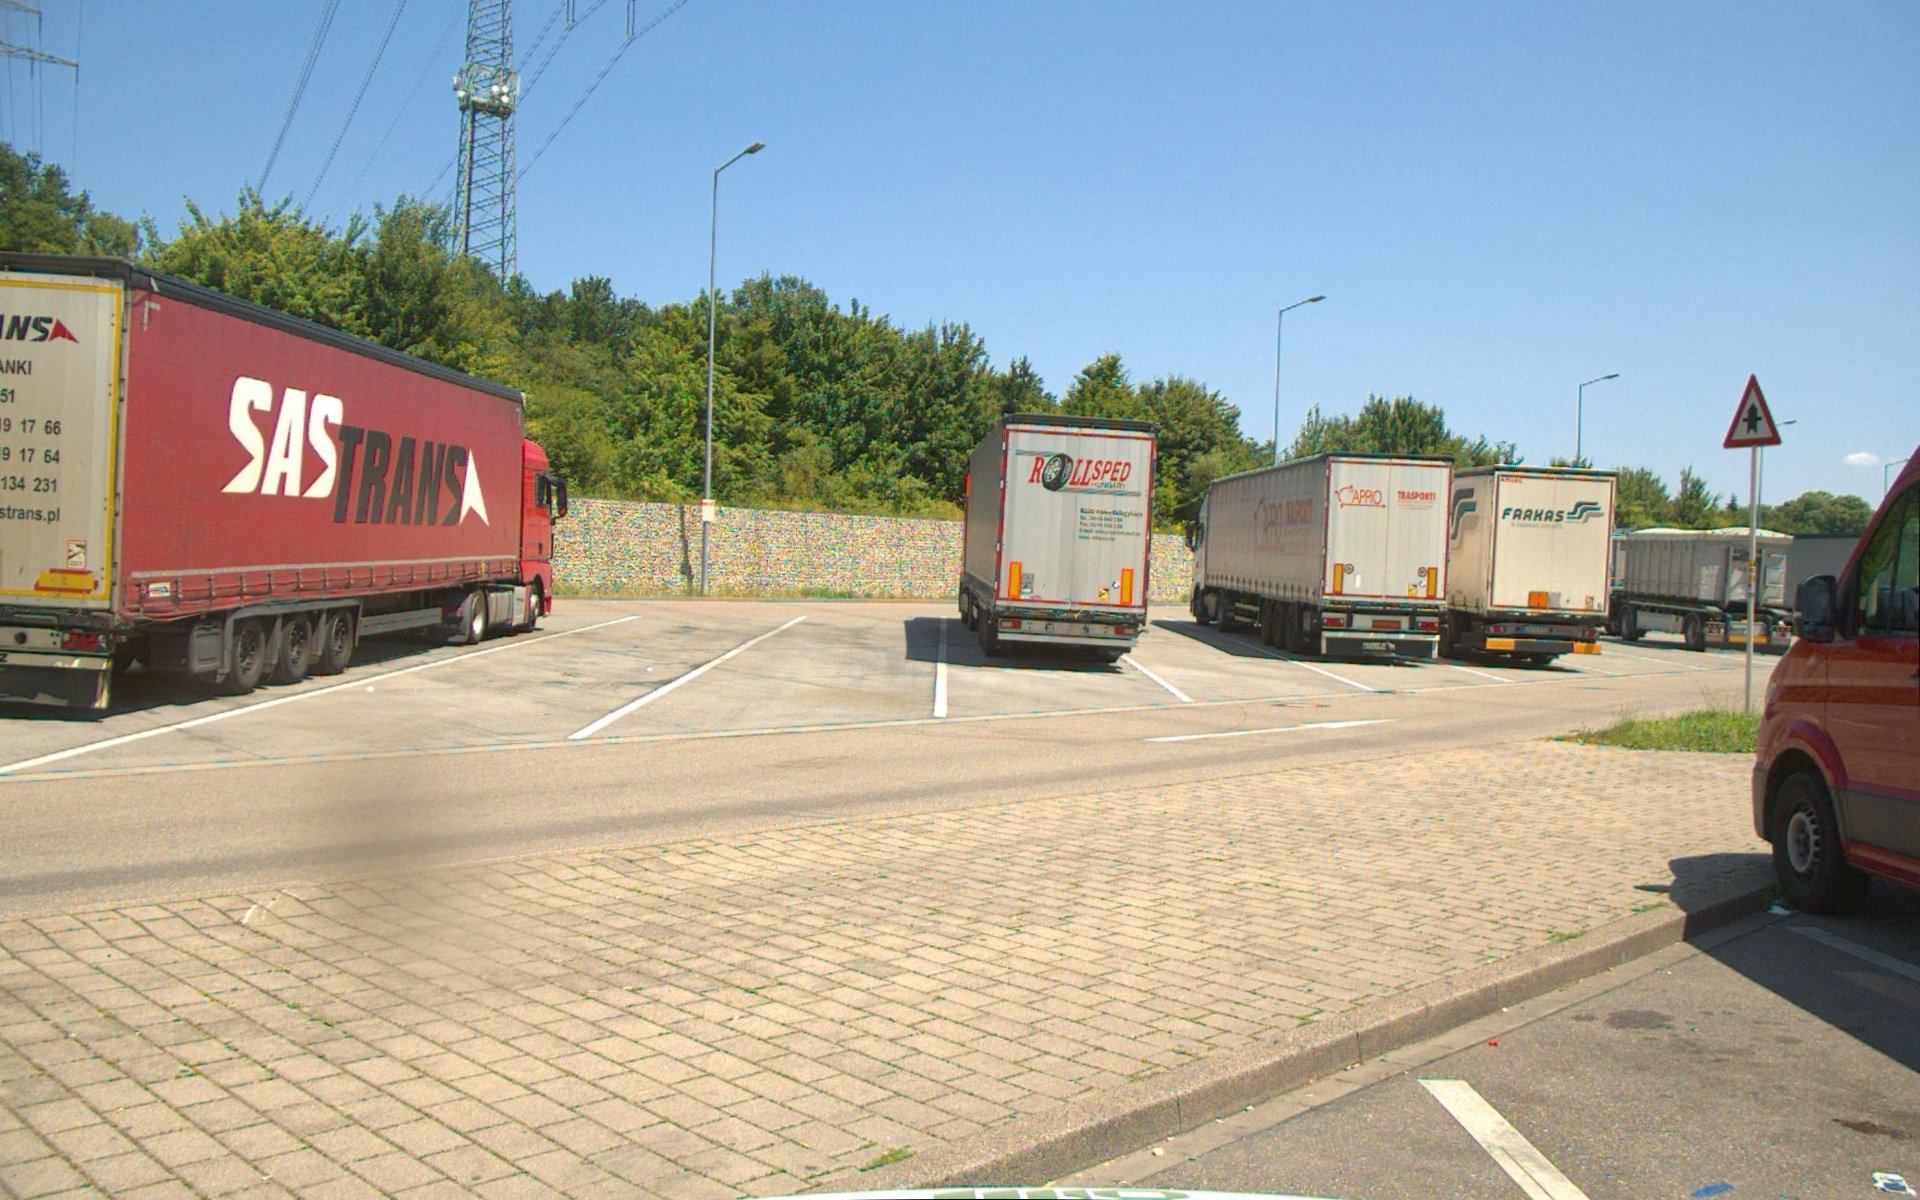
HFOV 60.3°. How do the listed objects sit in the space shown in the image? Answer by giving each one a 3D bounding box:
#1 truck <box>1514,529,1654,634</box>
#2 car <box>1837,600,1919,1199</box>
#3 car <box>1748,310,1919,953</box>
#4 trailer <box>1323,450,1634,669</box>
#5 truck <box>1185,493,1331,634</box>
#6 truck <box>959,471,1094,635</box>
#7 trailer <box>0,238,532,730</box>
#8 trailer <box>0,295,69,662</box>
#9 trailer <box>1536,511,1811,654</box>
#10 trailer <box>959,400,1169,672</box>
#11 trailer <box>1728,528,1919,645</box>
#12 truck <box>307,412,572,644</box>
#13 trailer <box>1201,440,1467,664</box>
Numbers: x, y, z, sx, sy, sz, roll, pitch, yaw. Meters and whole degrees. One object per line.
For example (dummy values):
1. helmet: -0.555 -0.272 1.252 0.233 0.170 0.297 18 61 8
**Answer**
1. truck: 22.015 -0.707 58.696 2.794 3.423 5.484 3 2 0
2. car: 2.603 0.803 1.140 1.703 1.508 3.813 1 1 -6
3. car: 5.015 0.170 5.545 2.023 2.742 6.397 1 1 4
4. trailer: 11.776 -1.012 39.617 2.781 4.204 13.722 2 2 -1
5. truck: 8.102 -1.034 45.622 2.794 3.544 5.482 2 2 -1
6. truck: 1.488 -1.141 39.833 2.794 3.544 5.482 2 2 -1
7. trailer: -8.673 -1.297 21.171 2.848 4.203 13.723 2 2 -1
8. trailer: -12.519 -1.310 15.689 2.673 4.282 10.170 2 2 -1
9. trailer: 21.934 -0.677 52.192 2.780 3.781 13.726 3 2 1
10. trailer: 1.656 -1.228 33.224 2.848 4.204 13.720 2 2 -1
11. trailer: 34.946 -0.633 65.395 2.780 4.119 13.726 3 2 1
12. truck: -8.787 -1.207 28.607 2.794 3.487 5.482 2 2 -1
13. trailer: 8.217 -1.134 38.813 2.781 4.204 13.722 2 2 -1
